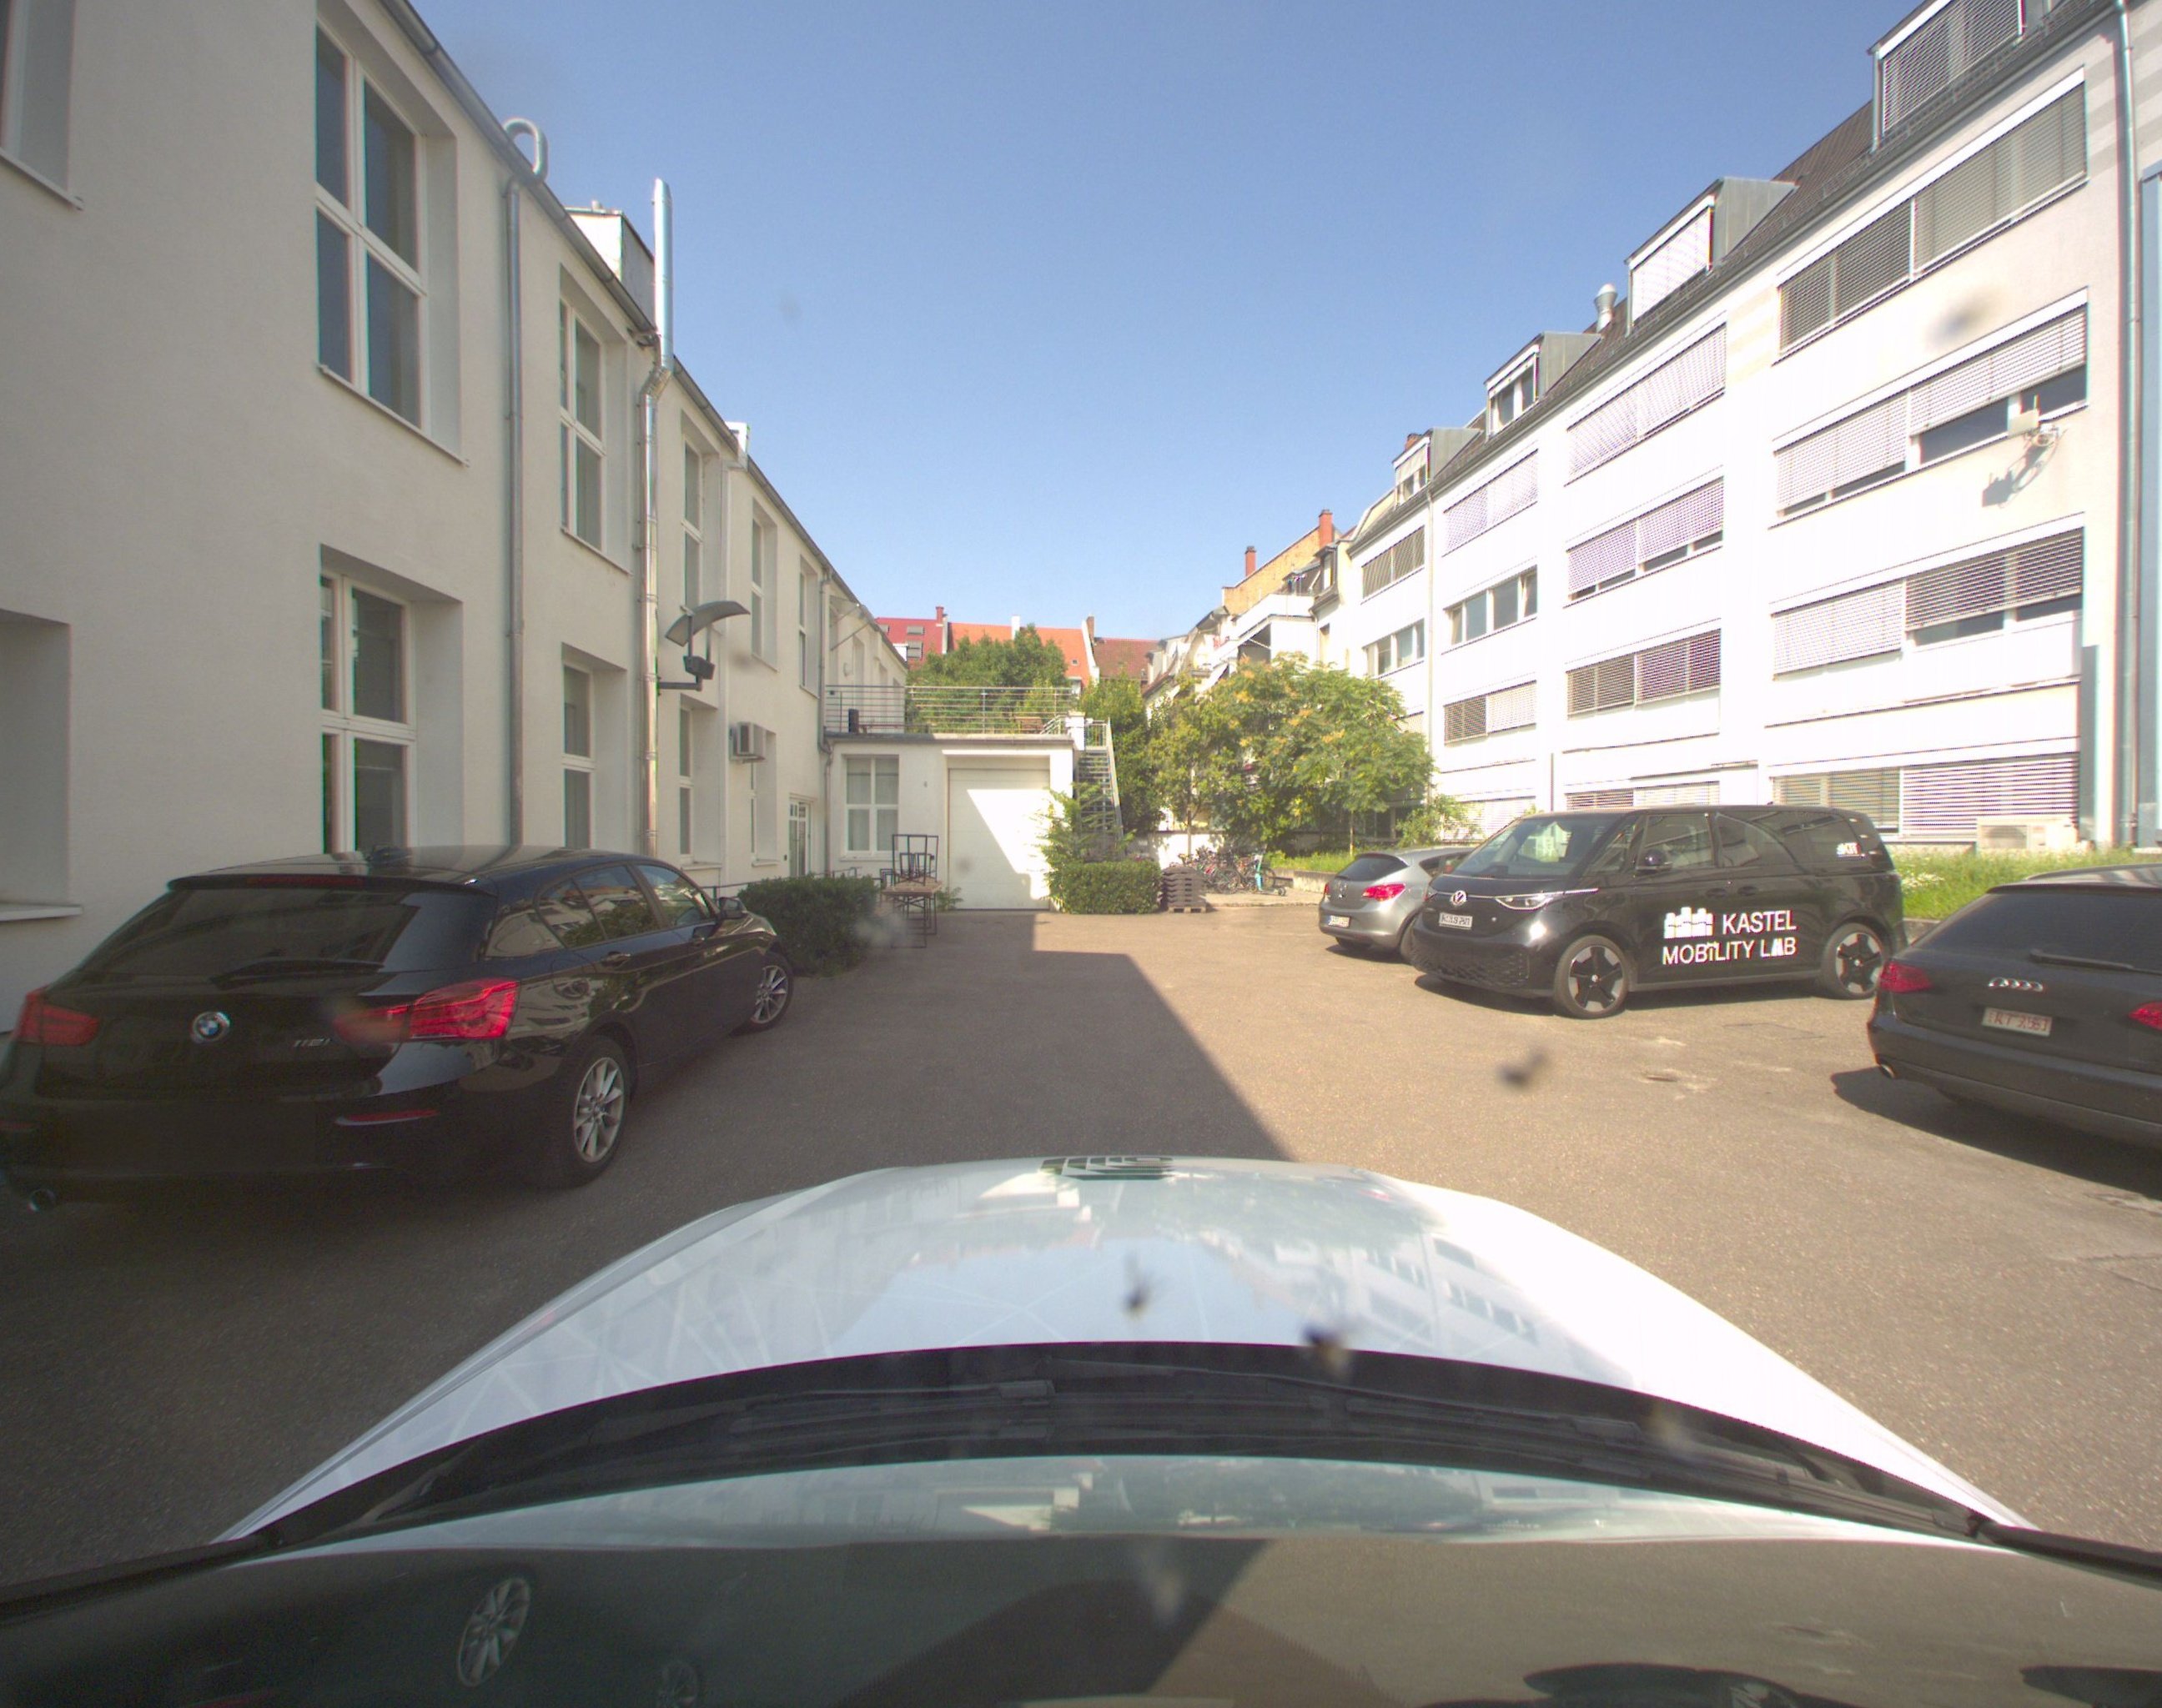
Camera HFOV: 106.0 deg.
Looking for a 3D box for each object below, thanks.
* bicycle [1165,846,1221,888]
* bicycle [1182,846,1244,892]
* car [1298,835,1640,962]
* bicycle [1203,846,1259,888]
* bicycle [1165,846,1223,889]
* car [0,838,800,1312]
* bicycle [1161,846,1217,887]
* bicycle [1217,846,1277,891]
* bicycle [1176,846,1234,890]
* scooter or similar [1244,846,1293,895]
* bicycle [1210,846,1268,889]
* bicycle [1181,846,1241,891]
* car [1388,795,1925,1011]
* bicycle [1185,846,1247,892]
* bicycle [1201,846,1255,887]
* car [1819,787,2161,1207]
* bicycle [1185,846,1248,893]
[{"bbox_3d":[3.350,0.389,24.368,1.622,1.214,0.423,-1,1,-9],"label":"bicycle"},{"bbox_3d":[3.597,0.402,22.255,1.619,1.214,0.327,-1,1,-2],"label":"bicycle"},{"bbox_3d":[5.165,0.525,11.035,3.935,1.482,1.767,-1,0,-13],"label":"car"},{"bbox_3d":[4.427,0.393,24.094,1.613,1.214,0.425,-1,1,9],"label":"bicycle"},{"bbox_3d":[3.296,0.392,23.730,1.620,1.214,0.423,-1,1,-4],"label":"bicycle"},{"bbox_3d":[-2.949,0.670,4.510,1.685,1.459,3.917,0,0,-4],"label":"car"},{"bbox_3d":[3.316,0.385,24.969,1.622,1.214,0.423,-1,1,-8],"label":"bicycle"},{"bbox_3d":[4.616,0.402,22.668,1.612,1.214,0.328,-1,1,11],"label":"bicycle"},{"bbox_3d":[3.516,0.396,23.066,1.613,1.214,0.328,-1,1,9],"label":"bicycle"},{"bbox_3d":[4.928,0.416,21.475,0.381,1.261,1.334,-1,1,-35],"label":"scooter or similar"},{"bbox_3d":[4.553,0.397,23.525,1.613,1.214,0.425,-1,1,10],"label":"bicycle"},{"bbox_3d":[3.611,0.399,22.707,1.614,1.214,0.327,-1,1,6],"label":"bicycle"},{"bbox_3d":[5.635,0.384,8.176,4.504,1.794,1.875,-1,0,-13],"label":"car"},{"bbox_3d":[3.640,0.404,21.964,1.619,1.214,0.327,-1,1,-2],"label":"bicycle"},{"bbox_3d":[4.520,0.387,25.127,1.613,1.214,0.425,-1,1,9],"label":"bicycle"},{"bbox_3d":[6.354,0.578,4.014,4.111,1.691,1.767,0,0,-6],"label":"car"},{"bbox_3d":[3.590,0.405,21.639,1.619,1.214,0.327,-1,1,-2],"label":"bicycle"}]
